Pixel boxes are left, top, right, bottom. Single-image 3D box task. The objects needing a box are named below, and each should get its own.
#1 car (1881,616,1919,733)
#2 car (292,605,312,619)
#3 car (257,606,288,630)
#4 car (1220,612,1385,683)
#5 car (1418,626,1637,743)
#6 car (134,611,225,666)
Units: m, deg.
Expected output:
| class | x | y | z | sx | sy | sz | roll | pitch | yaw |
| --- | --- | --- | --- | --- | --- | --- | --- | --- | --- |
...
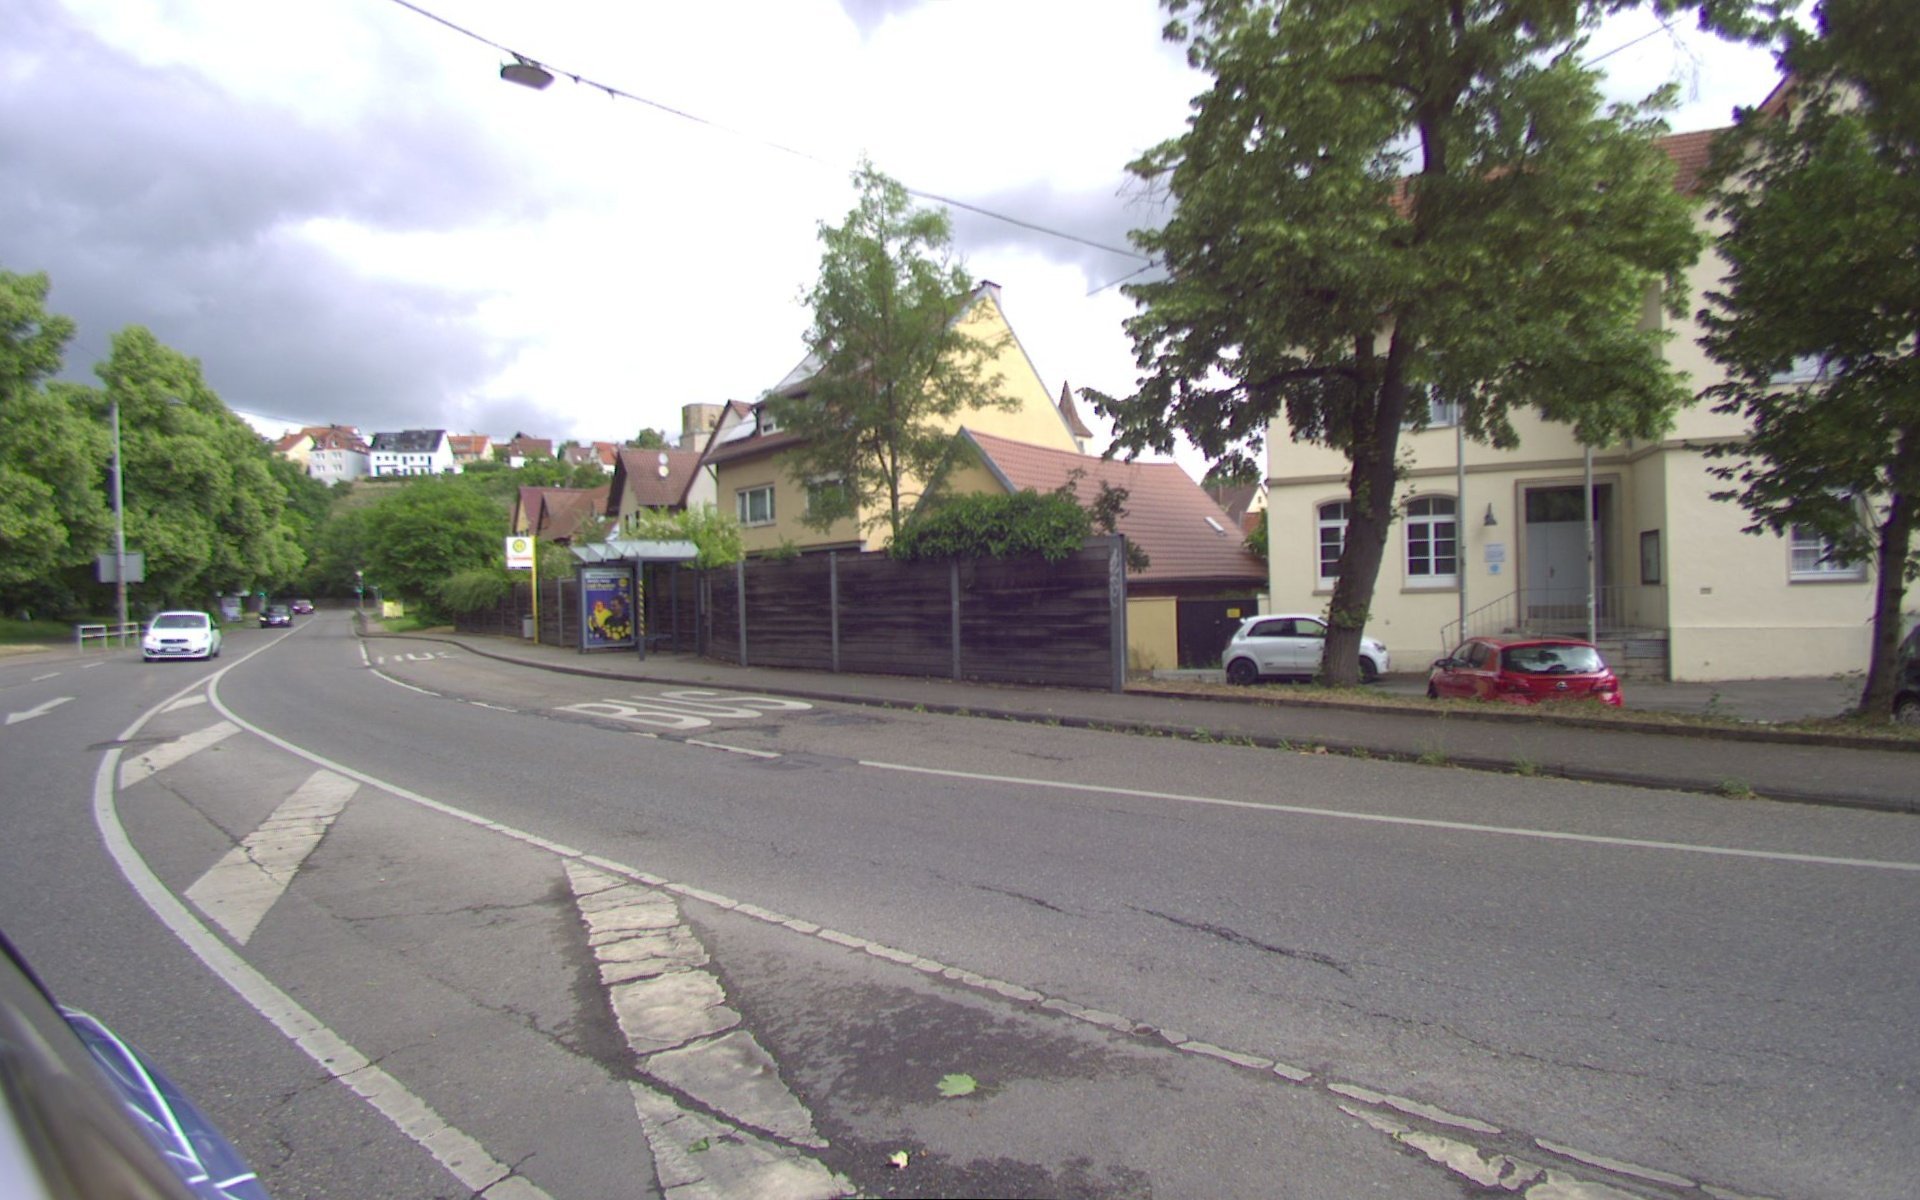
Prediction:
| class | x | y | z | sx | sy | sz | roll | pitch | yaw |
| --- | --- | --- | --- | --- | --- | --- | --- | --- | --- |
| car | 12.631 | 0.930 | 11.316 | 1.626 | 1.450 | 3.567 | -1 | 0 | 7 |
| car | -76.890 | 1.363 | 118.330 | 1.735 | 1.596 | 3.694 | -1 | 0 | -30 |
| car | -48.279 | 1.229 | 71.114 | 1.735 | 1.596 | 3.693 | -1 | 0 | -33 |
| car | 7.718 | 1.050 | 22.897 | 3.411 | 1.490 | 1.600 | -1 | 0 | 21 |
| car | 8.167 | 1.141 | 14.946 | 1.644 | 1.393 | 3.708 | -1 | 0 | 10 |
| car | -23.925 | 1.125 | 31.124 | 1.735 | 1.536 | 3.694 | -1 | 0 | -30 |
